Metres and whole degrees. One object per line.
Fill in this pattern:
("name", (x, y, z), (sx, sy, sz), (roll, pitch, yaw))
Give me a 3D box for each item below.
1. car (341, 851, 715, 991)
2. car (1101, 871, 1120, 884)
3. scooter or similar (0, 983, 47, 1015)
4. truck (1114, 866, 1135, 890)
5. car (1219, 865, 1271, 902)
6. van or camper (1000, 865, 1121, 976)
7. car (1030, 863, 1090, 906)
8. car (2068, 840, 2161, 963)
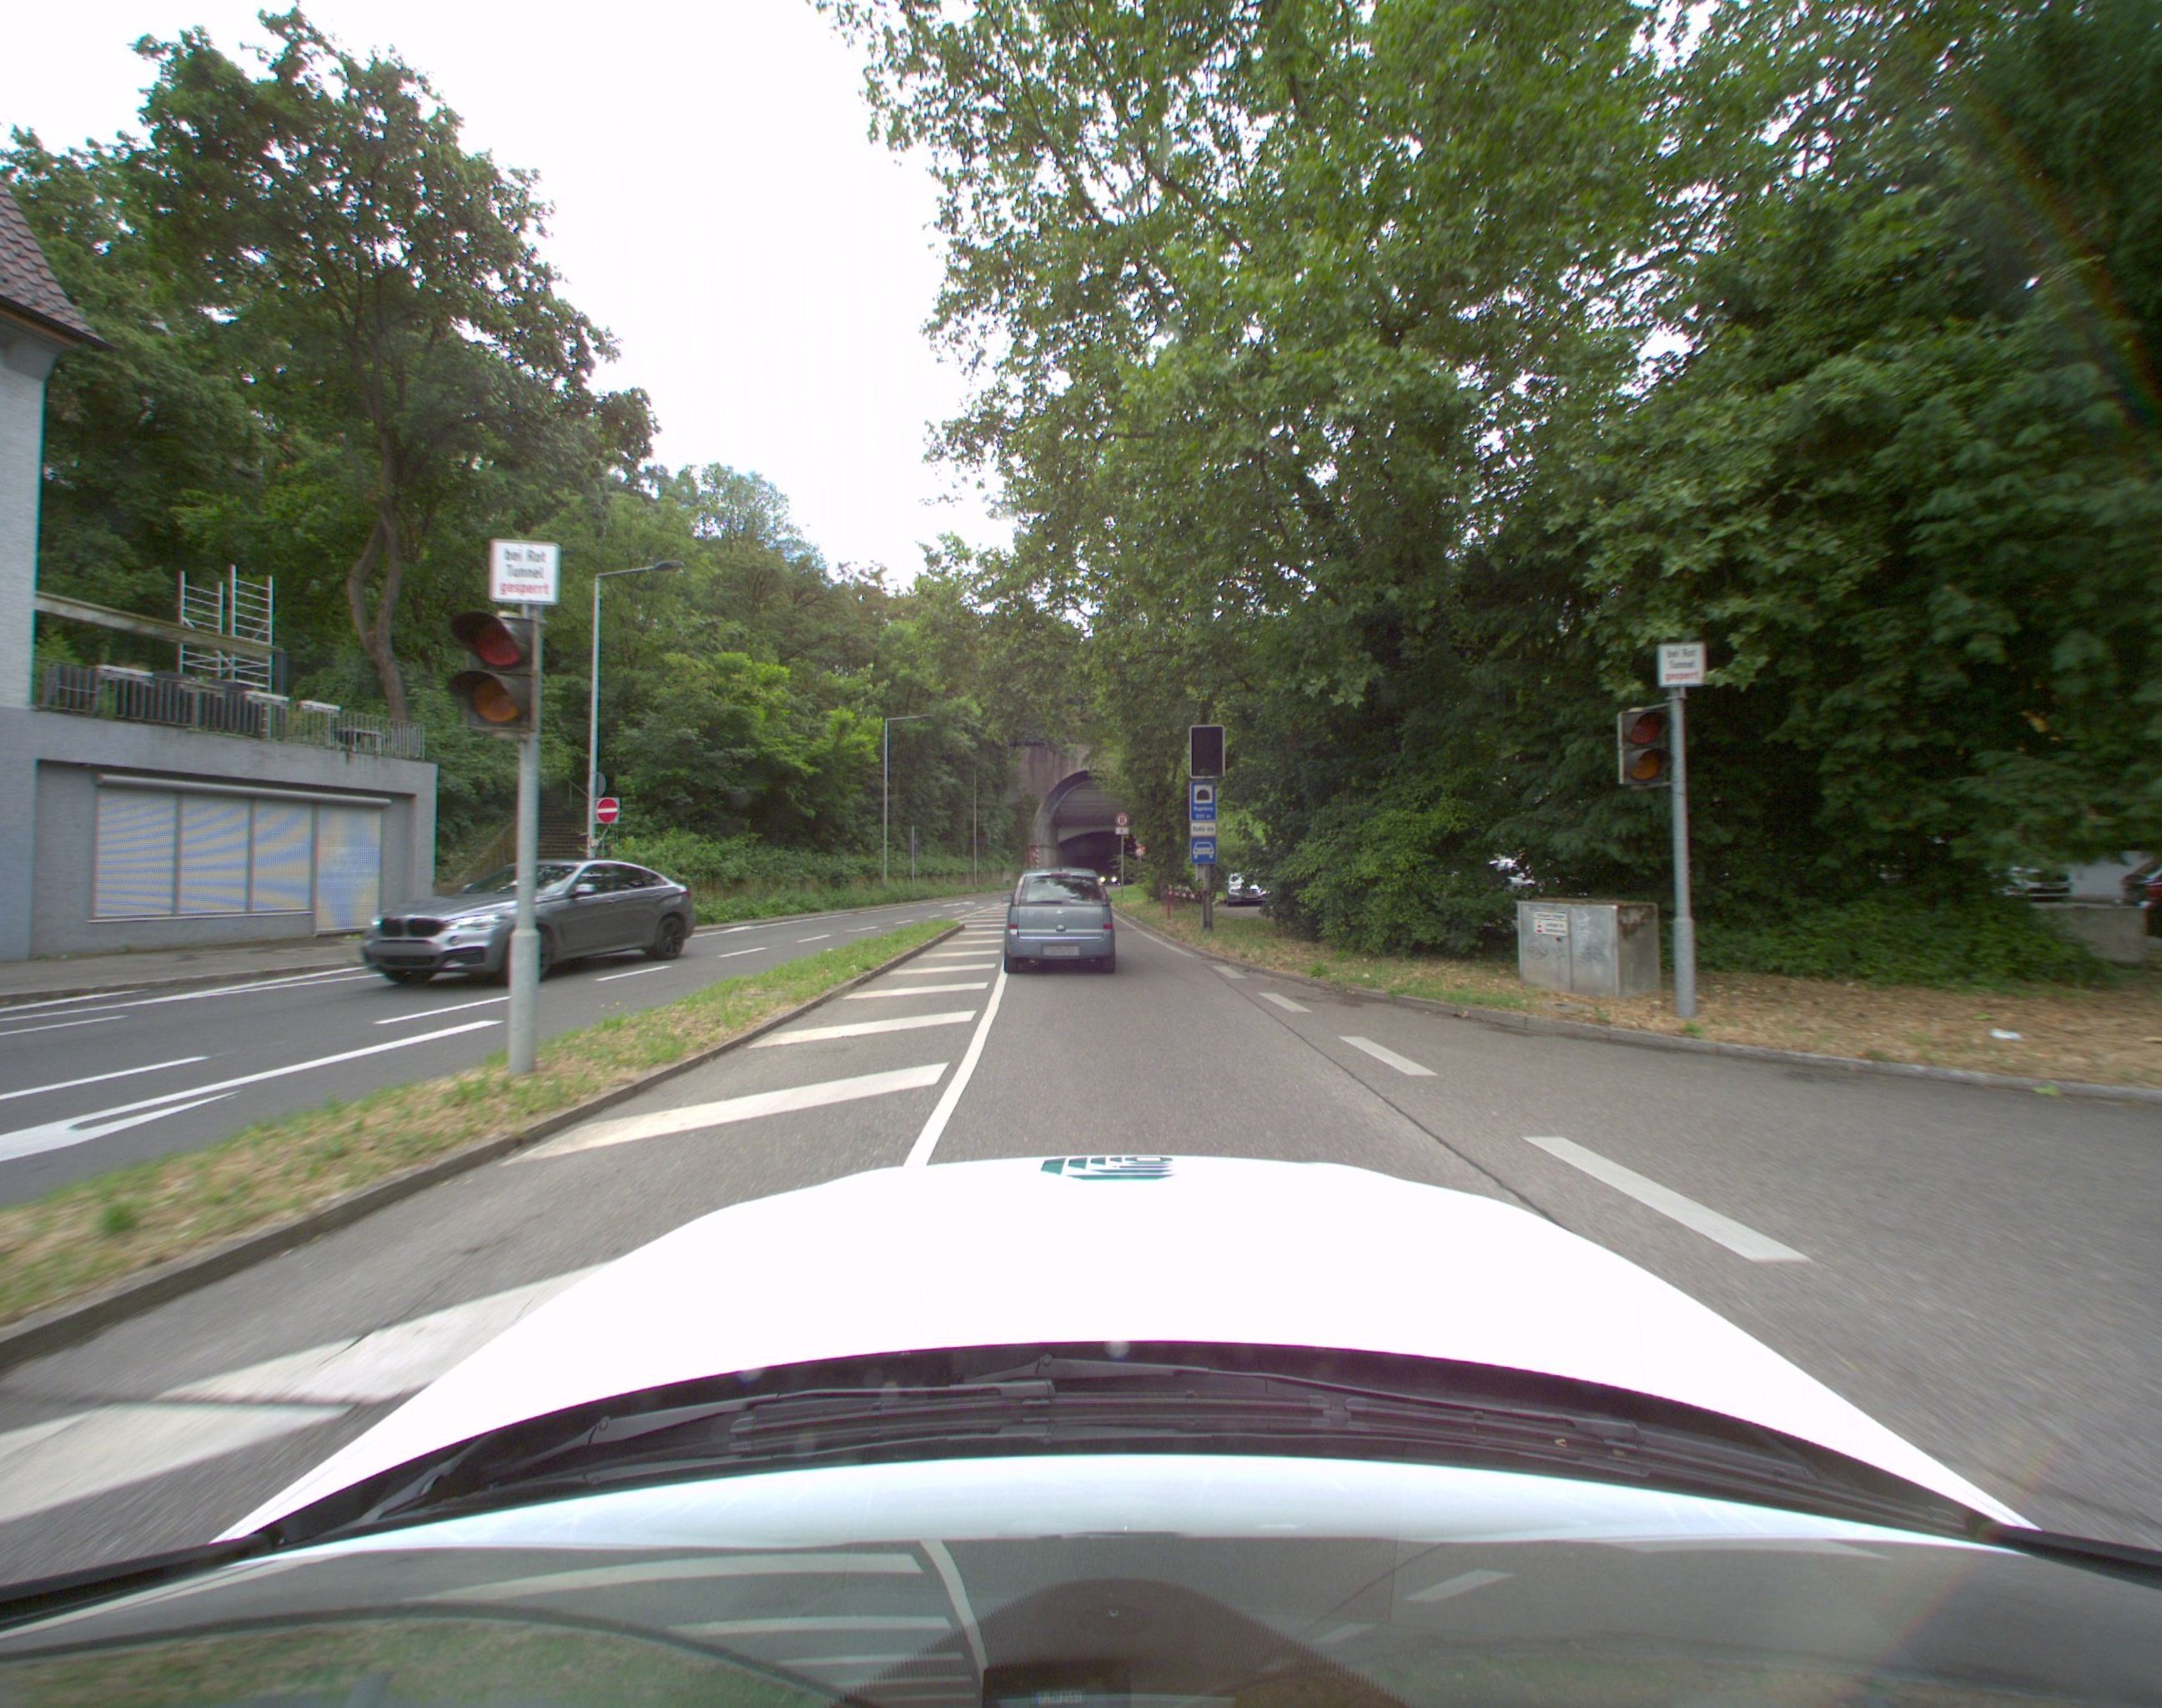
("car", (-7.916, 0.839, 12.450), (1.859, 1.698, 4.947), (-1, 0, 8))
("car", (3.706, 2.964, 102.877), (1.857, 1.371, 4.467), (-2, 0, 8))
("scooter or similar", (-12.567, 1.656, 8.889), (1.121, 0.288, 1.098), (-2, 0, -4))
("truck", (6.793, 3.634, 125.687), (2.661, 3.667, 7.532), (0, -1, 7))
("car", (7.074, 1.236, 35.474), (1.776, 1.442, 5.072), (-1, 0, 6))
("van or camper", (-0.375, 0.978, 13.513), (1.731, 1.578, 3.641), (0, -1, -3))
("car", (-0.804, 1.231, 34.186), (1.984, 1.653, 4.006), (-1, -1, 6))
("car", (15.834, 0.486, 10.036), (4.370, 1.485, 1.874), (-6, -1, 44))
